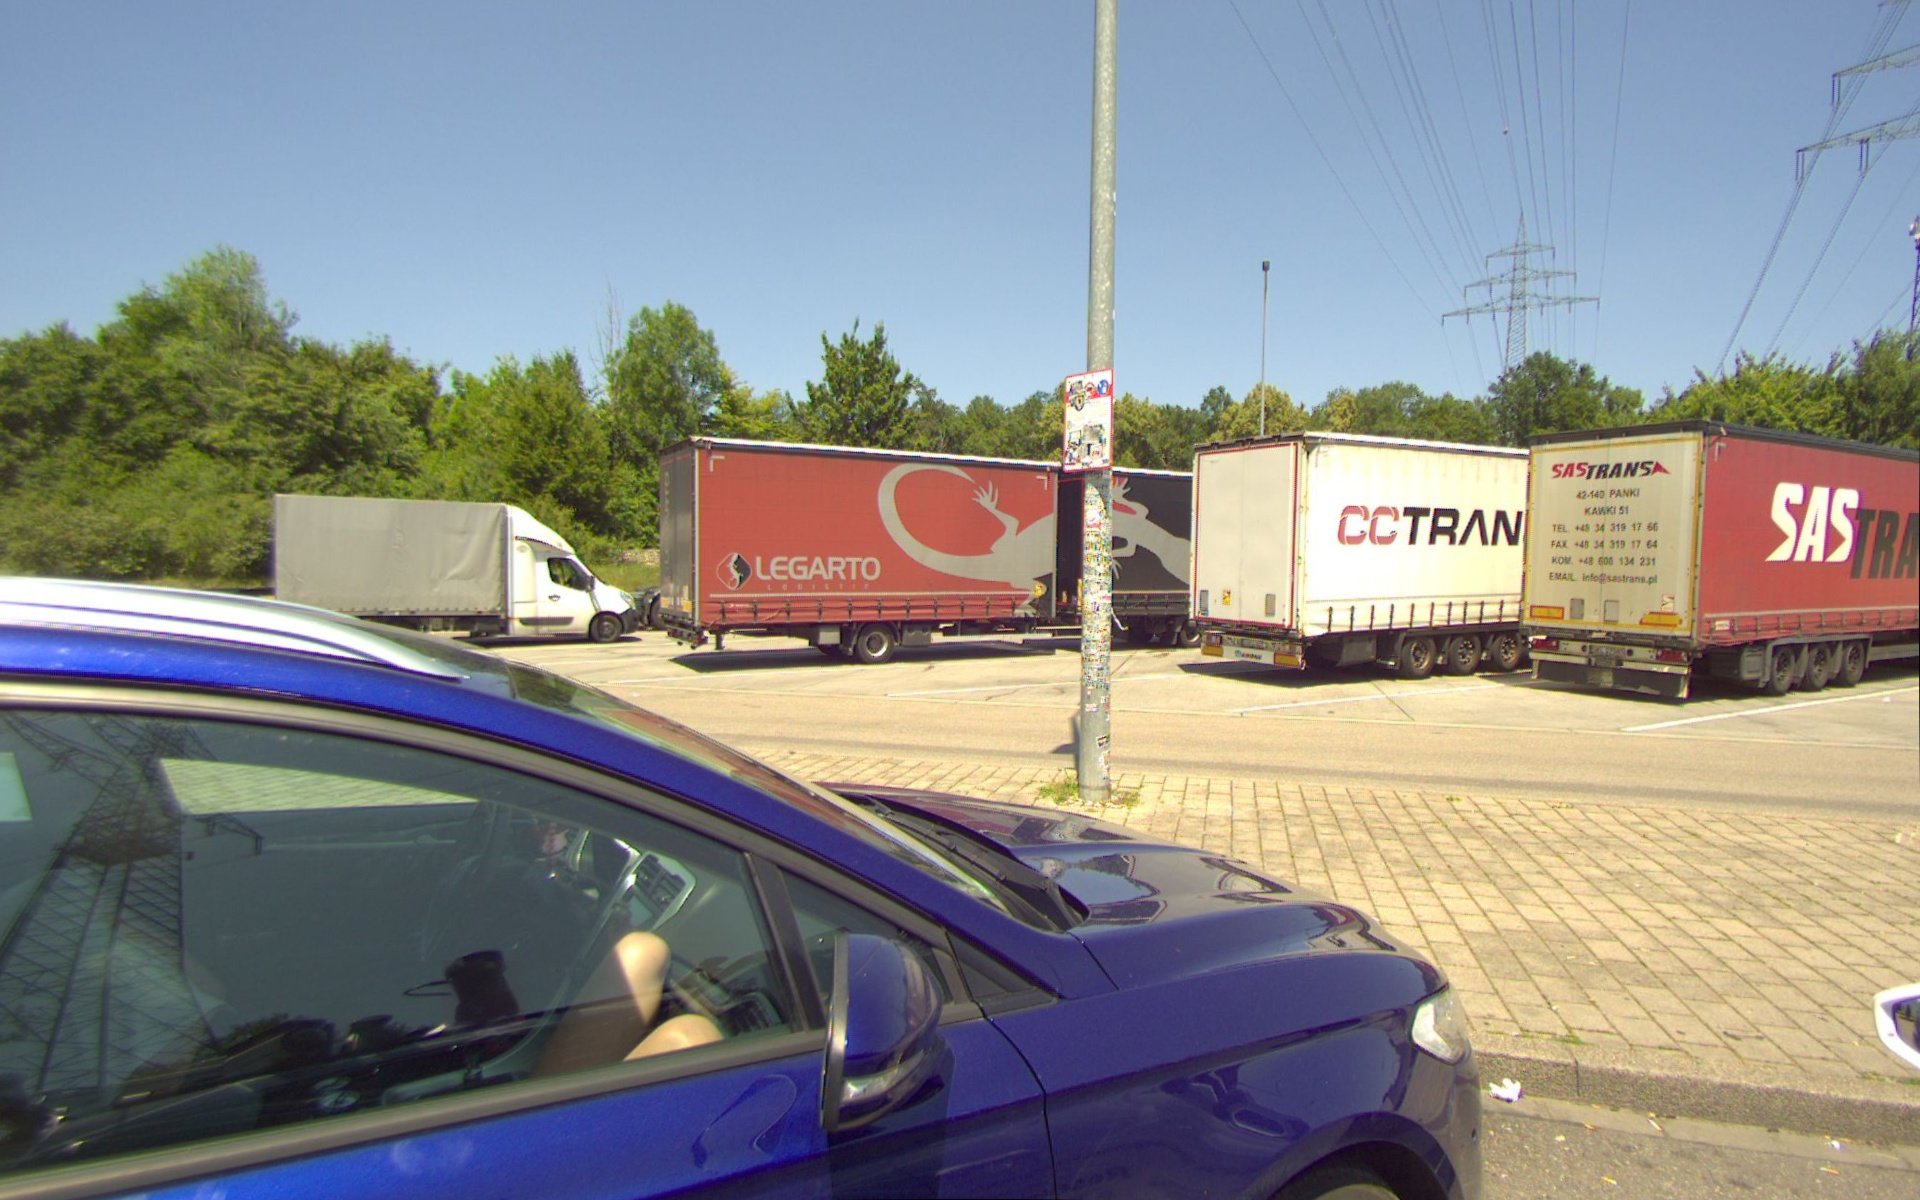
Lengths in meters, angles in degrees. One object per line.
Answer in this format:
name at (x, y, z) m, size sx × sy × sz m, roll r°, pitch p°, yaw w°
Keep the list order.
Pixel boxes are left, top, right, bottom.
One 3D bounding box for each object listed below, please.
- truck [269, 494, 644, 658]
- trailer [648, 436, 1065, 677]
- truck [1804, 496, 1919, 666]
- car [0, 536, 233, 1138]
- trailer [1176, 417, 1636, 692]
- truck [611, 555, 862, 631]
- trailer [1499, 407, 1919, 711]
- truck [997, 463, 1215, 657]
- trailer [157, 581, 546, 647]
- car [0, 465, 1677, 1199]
truck at (-11.190, -0.576, 22.903) m, size 7.254 × 3.254 × 2.515 m, roll -1°, pitch 3°, yaw -30°
trailer at (-1.913, -0.832, 20.269) m, size 7.996 × 4.101 × 2.696 m, roll -1°, pitch 3°, yaw -30°
truck at (21.740, -0.433, 22.313) m, size 5.418 × 3.475 × 2.838 m, roll -1°, pitch 3°, yaw -30°
car at (-4.538, 0.585, 2.256) m, size 4.592 × 1.554 × 1.726 m, roll 0°, pitch 1°, yaw -33°
trailer at (8.879, -0.822, 19.331) m, size 10.049 × 4.267 × 2.714 m, roll -1°, pitch 3°, yaw -30°
truck at (-6.471, -0.168, 29.527) m, size 6.961 × 2.040 × 1.984 m, roll 0°, pitch 0°, yaw -30°
trailer at (15.418, -0.704, 18.567) m, size 13.559 × 4.189 × 2.892 m, roll -1°, pitch 3°, yaw -30°
truck at (3.368, -0.907, 23.364) m, size 4.273 × 4.072 × 2.689 m, roll -1°, pitch 3°, yaw -30°
trailer at (-14.819, 0.255, 25.186) m, size 7.996 × 1.394 × 2.211 m, roll -1°, pitch 3°, yaw -30°
car at (-0.965, 0.658, 1.472) m, size 4.592 × 1.502 × 1.727 m, roll 0°, pitch 0°, yaw -33°
